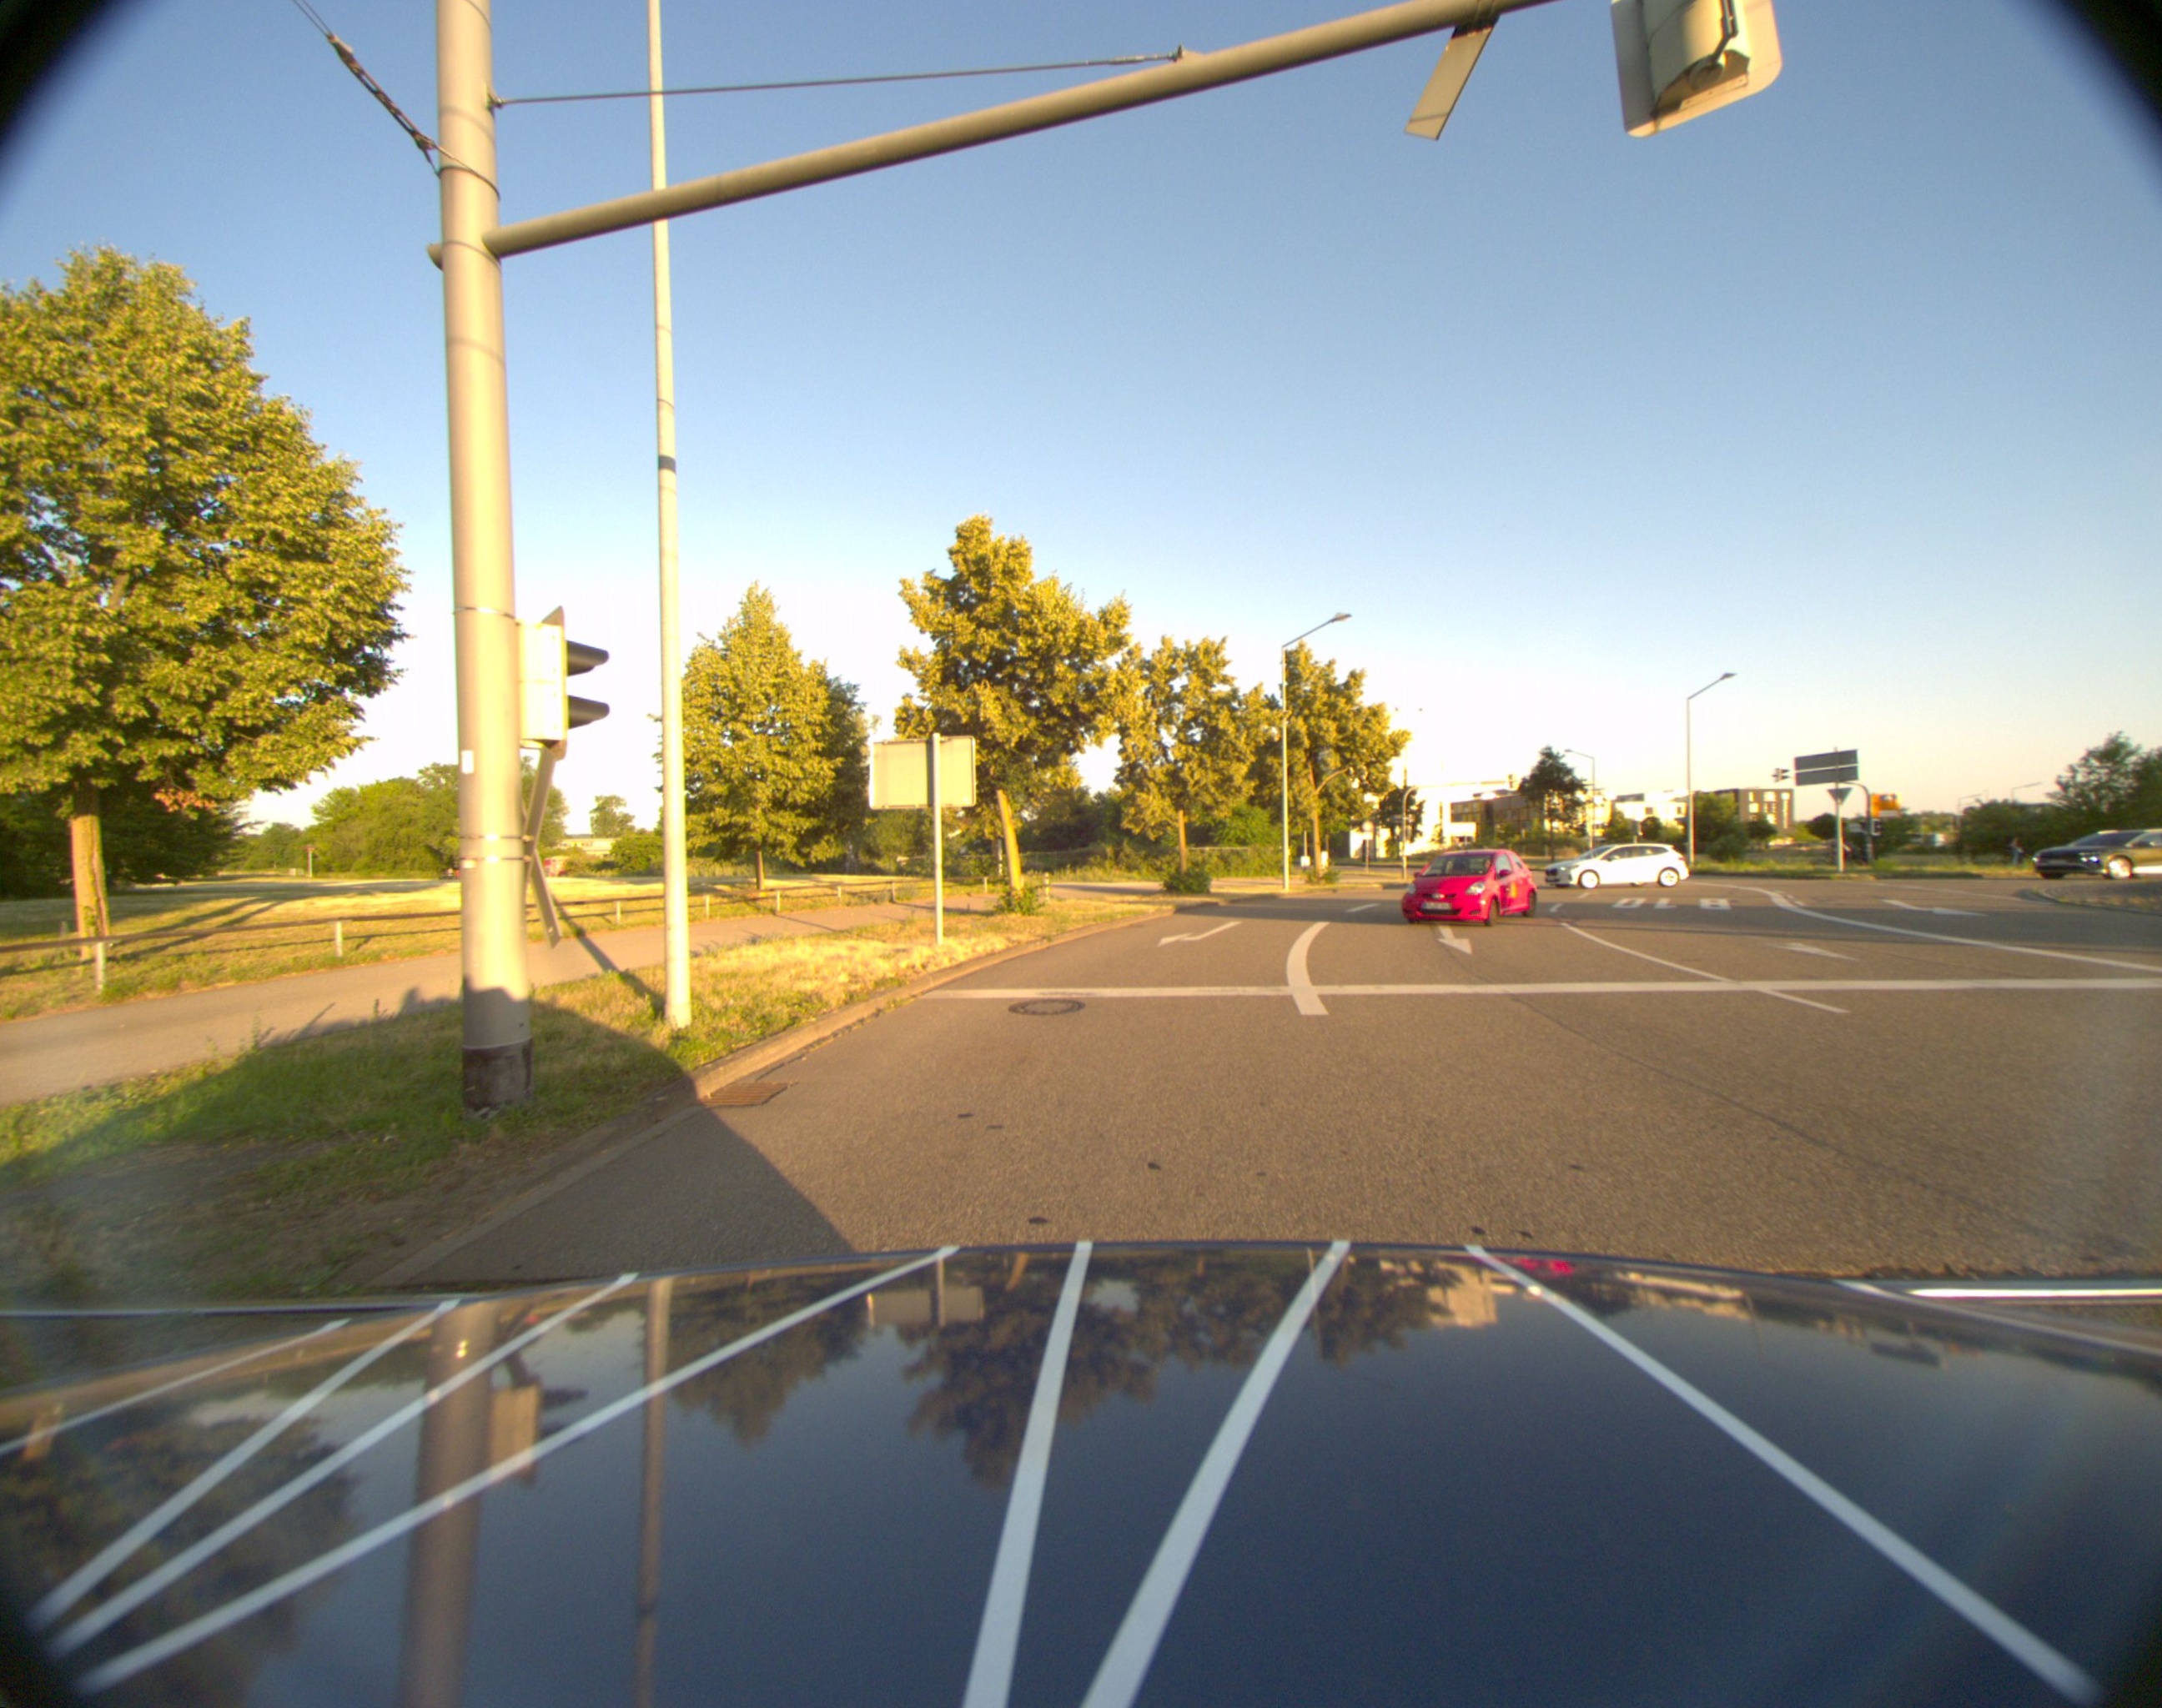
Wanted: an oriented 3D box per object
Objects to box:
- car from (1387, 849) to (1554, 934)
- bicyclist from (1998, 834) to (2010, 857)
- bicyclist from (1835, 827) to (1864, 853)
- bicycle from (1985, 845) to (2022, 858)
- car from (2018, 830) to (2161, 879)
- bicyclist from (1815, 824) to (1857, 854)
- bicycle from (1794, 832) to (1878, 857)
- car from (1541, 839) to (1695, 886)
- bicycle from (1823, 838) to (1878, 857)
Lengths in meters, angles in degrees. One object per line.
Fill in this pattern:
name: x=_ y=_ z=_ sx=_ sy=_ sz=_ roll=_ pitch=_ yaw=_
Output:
car: x=8.030 y=0.672 z=15.499 sx=4.219 sy=1.413 sz=1.690 roll=-2 pitch=1 yaw=-43
bicyclist: x=55.082 y=-0.505 z=45.354 sx=0.475 sy=1.389 sz=0.447 roll=-2 pitch=1 yaw=-40
bicyclist: x=47.729 y=-0.862 z=47.197 sx=0.999 sy=1.623 sz=0.811 roll=-1 pitch=1 yaw=15
bicycle: x=55.091 y=-0.136 z=45.376 sx=0.475 sy=0.787 sz=1.415 roll=-1 pitch=0 yaw=-40
car: x=34.308 y=0.004 z=24.959 sx=4.207 sy=1.549 sz=1.830 roll=-1 pitch=0 yaw=14
bicyclist: x=45.561 y=-0.906 z=45.845 sx=1.414 sy=1.739 sz=1.125 roll=-1 pitch=1 yaw=13
bicycle: x=45.526 y=-0.564 z=45.857 sx=3.533 sy=1.387 sz=1.125 roll=-1 pitch=1 yaw=13
car: x=19.174 y=0.299 z=27.284 sx=4.209 sy=1.549 sz=1.761 roll=-1 pitch=0 yaw=6
bicycle: x=47.773 y=-0.400 z=47.212 sx=2.324 sy=1.172 sz=0.811 roll=-1 pitch=1 yaw=14
